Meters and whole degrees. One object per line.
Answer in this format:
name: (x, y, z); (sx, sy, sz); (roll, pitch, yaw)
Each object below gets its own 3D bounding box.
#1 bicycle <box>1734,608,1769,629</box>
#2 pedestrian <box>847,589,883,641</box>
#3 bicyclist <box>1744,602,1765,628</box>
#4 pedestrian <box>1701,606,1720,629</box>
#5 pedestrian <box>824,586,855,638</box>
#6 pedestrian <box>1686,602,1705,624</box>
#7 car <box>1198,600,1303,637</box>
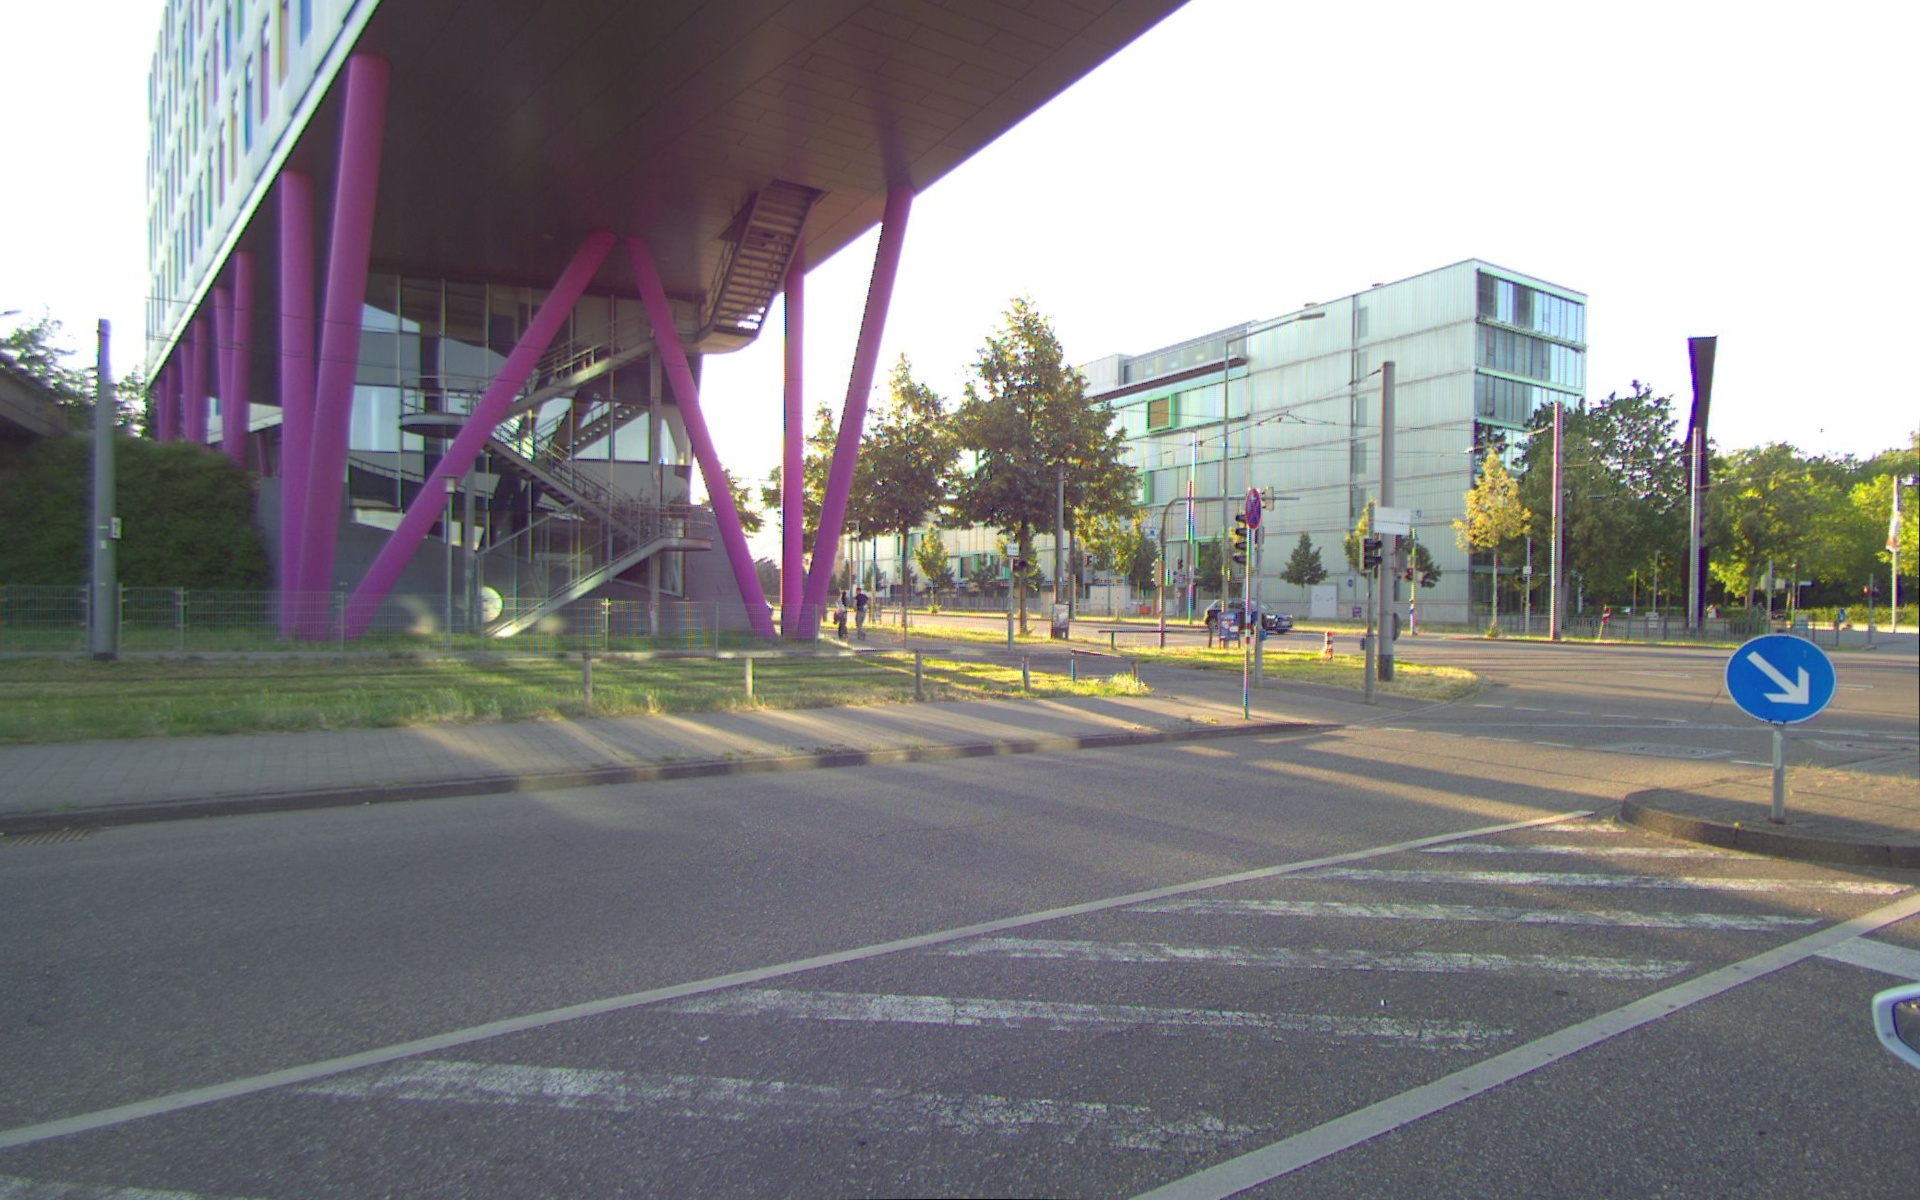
bicycle: (52.188, 1.182, 66.279); (0.717, 1.359, 2.692); (1, 0, 12)
pedestrian: (-3.269, 0.541, 34.474); (0.923, 1.747, 0.875); (1, -2, -33)
bicyclist: (52.105, 0.984, 65.901); (0.738, 1.732, 0.920); (1, 0, 11)
pedestrian: (58.472, 1.350, 78.278); (0.813, 1.767, 0.863); (1, 0, 5)
pedestrian: (-4.103, 0.428, 34.168); (0.755, 1.727, 0.881); (1, -2, -29)
pedestrian: (57.576, 1.012, 78.609); (0.814, 1.767, 0.863); (1, 0, -1)
car: (13.299, 0.808, 46.199); (1.968, 1.577, 4.448); (1, 0, -34)
